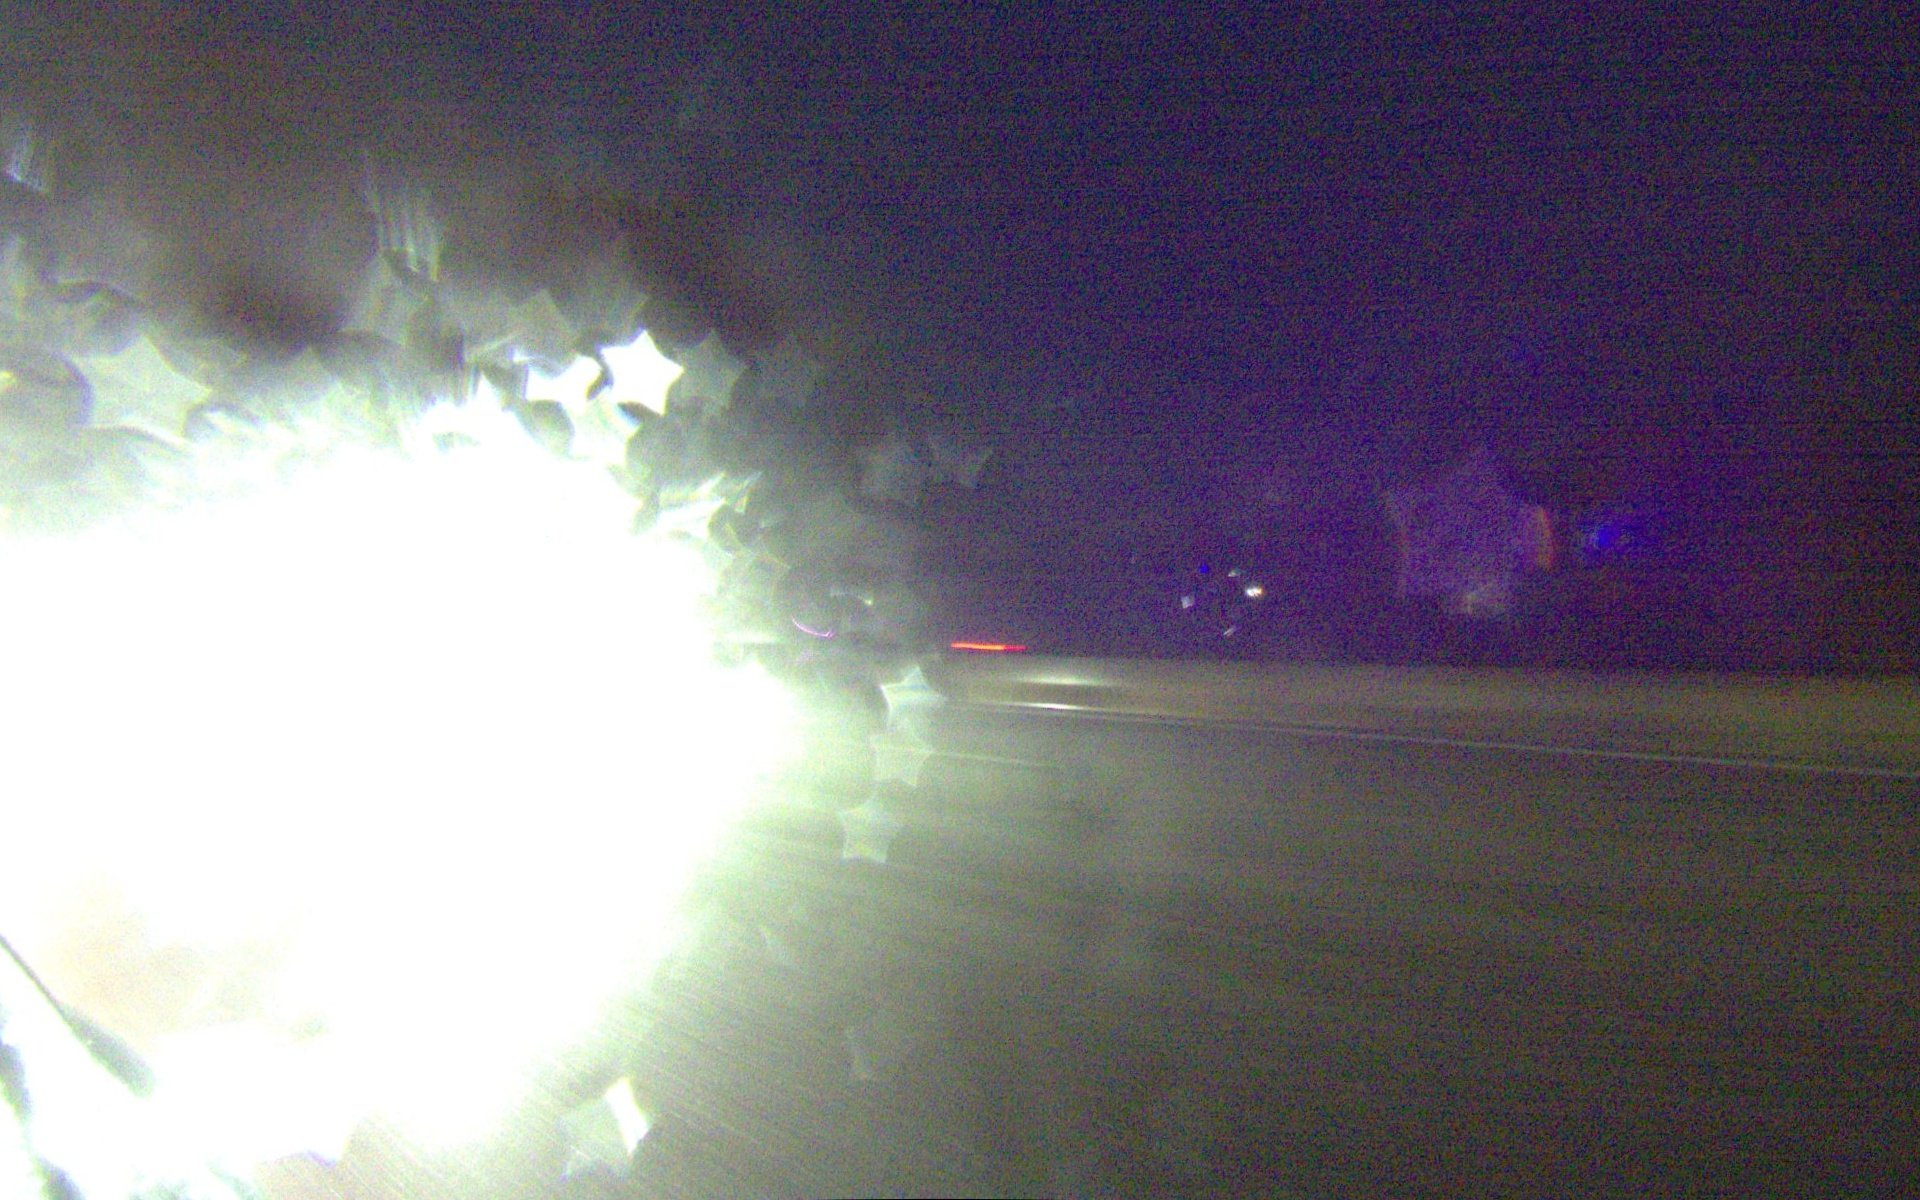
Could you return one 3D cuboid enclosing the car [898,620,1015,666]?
[{"bbox_3d":[-0.175,1.649,40.006,4.343,1.685,1.973,-1,0,40],"label":"car"}]

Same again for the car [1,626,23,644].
[{"bbox_3d":[-139.067,5.124,148.406,4.843,2.419,1.949,-1,0,42],"label":"car"}]

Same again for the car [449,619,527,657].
[{"bbox_3d":[-22.846,1.798,48.933,4.655,1.685,1.597,-1,0,40],"label":"car"}]

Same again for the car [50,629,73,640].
[{"bbox_3d":[-126.584,4.874,142.631,4.345,1.529,1.788,-1,0,40],"label":"car"}]

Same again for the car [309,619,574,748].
[{"bbox_3d":[-7.029,1.013,13.530,4.242,1.442,1.640,-2,-1,40],"label":"car"}]

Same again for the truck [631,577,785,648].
[{"bbox_3d":[-11.161,0.537,44.382,7.745,2.868,2.868,-1,0,44],"label":"truck"}]

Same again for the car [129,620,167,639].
[{"bbox_3d":[-75.495,2.755,94.063,4.343,1.685,1.973,-1,0,40],"label":"car"}]
